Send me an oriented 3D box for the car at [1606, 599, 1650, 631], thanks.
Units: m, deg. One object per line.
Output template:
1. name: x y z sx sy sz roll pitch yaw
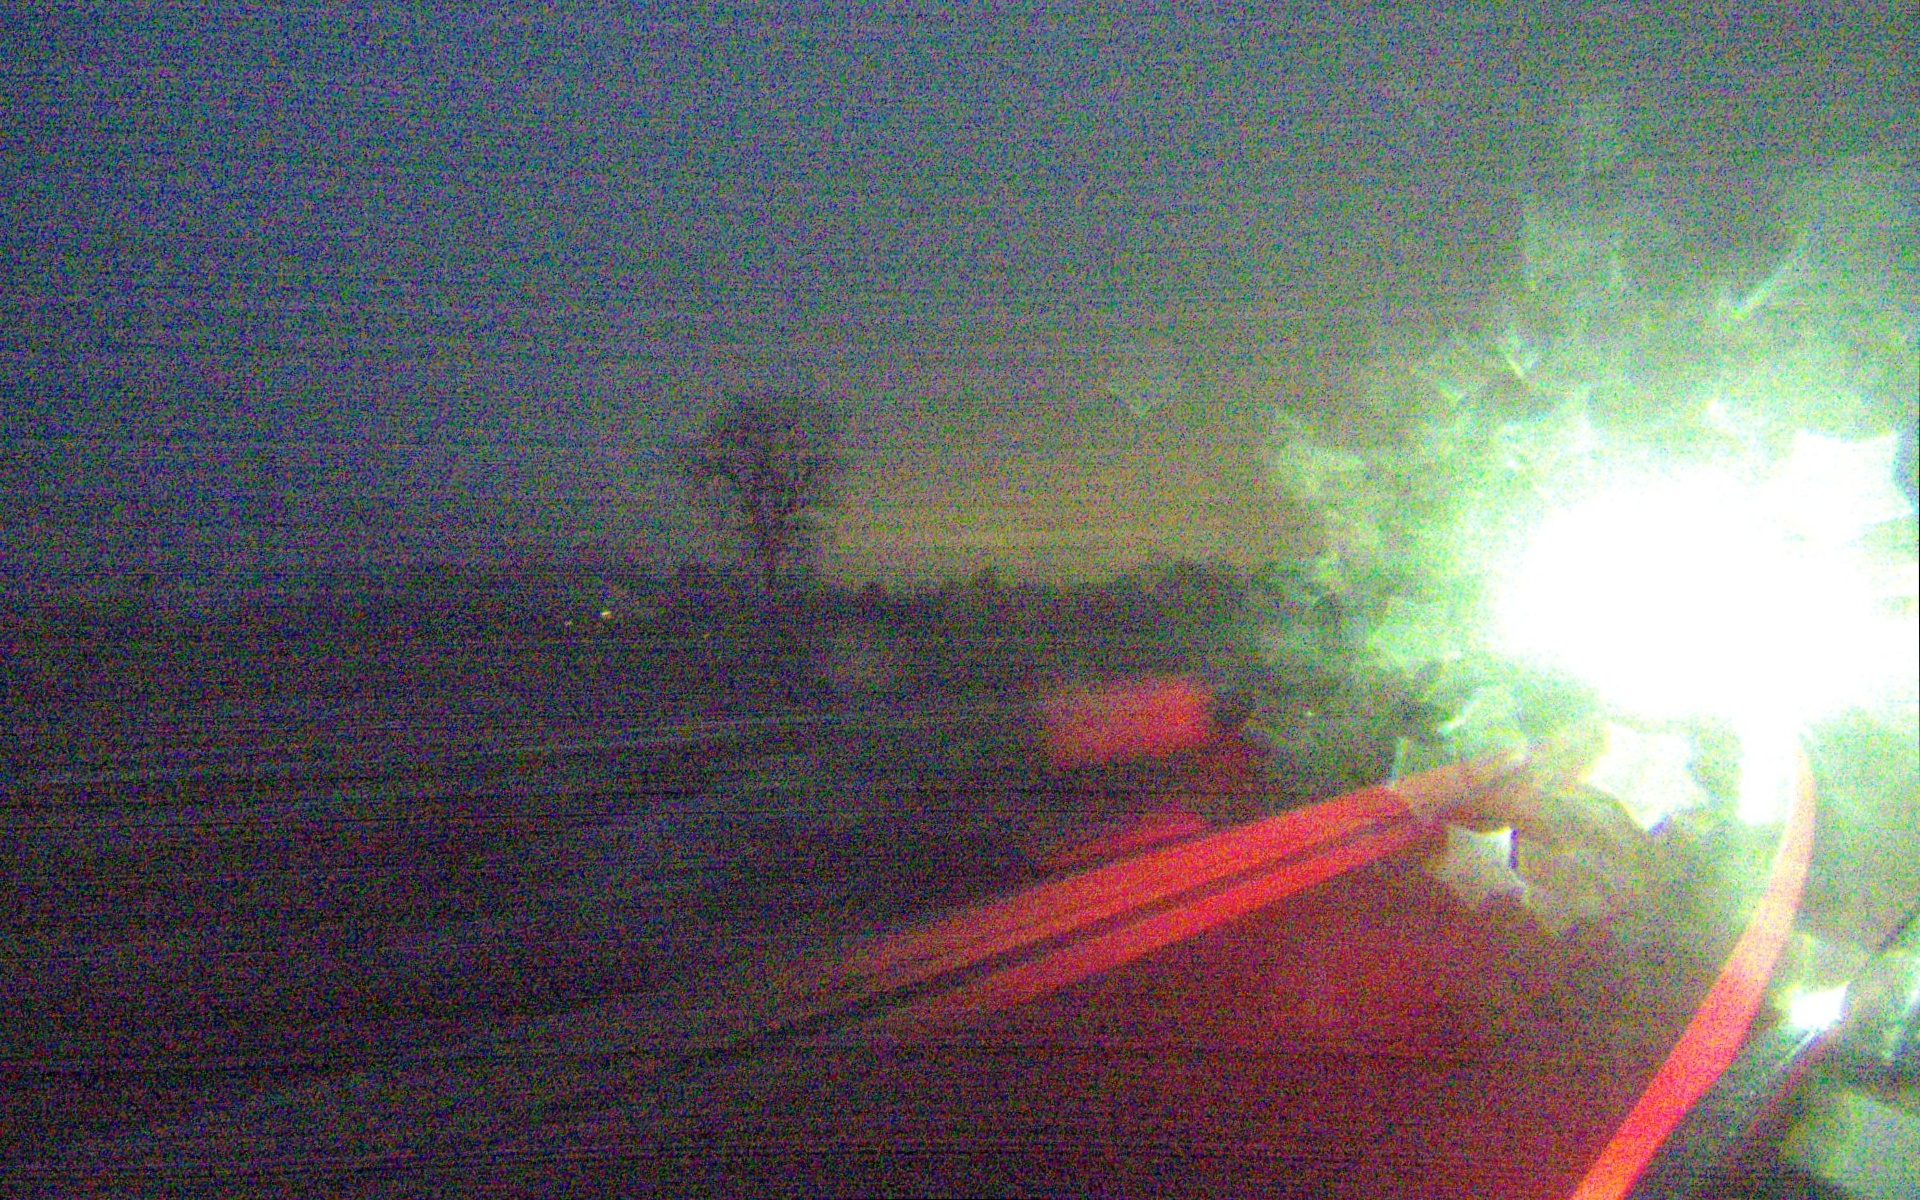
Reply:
1. car: 39.395 0.904 59.755 1.985 1.770 4.052 -2 -2 32
